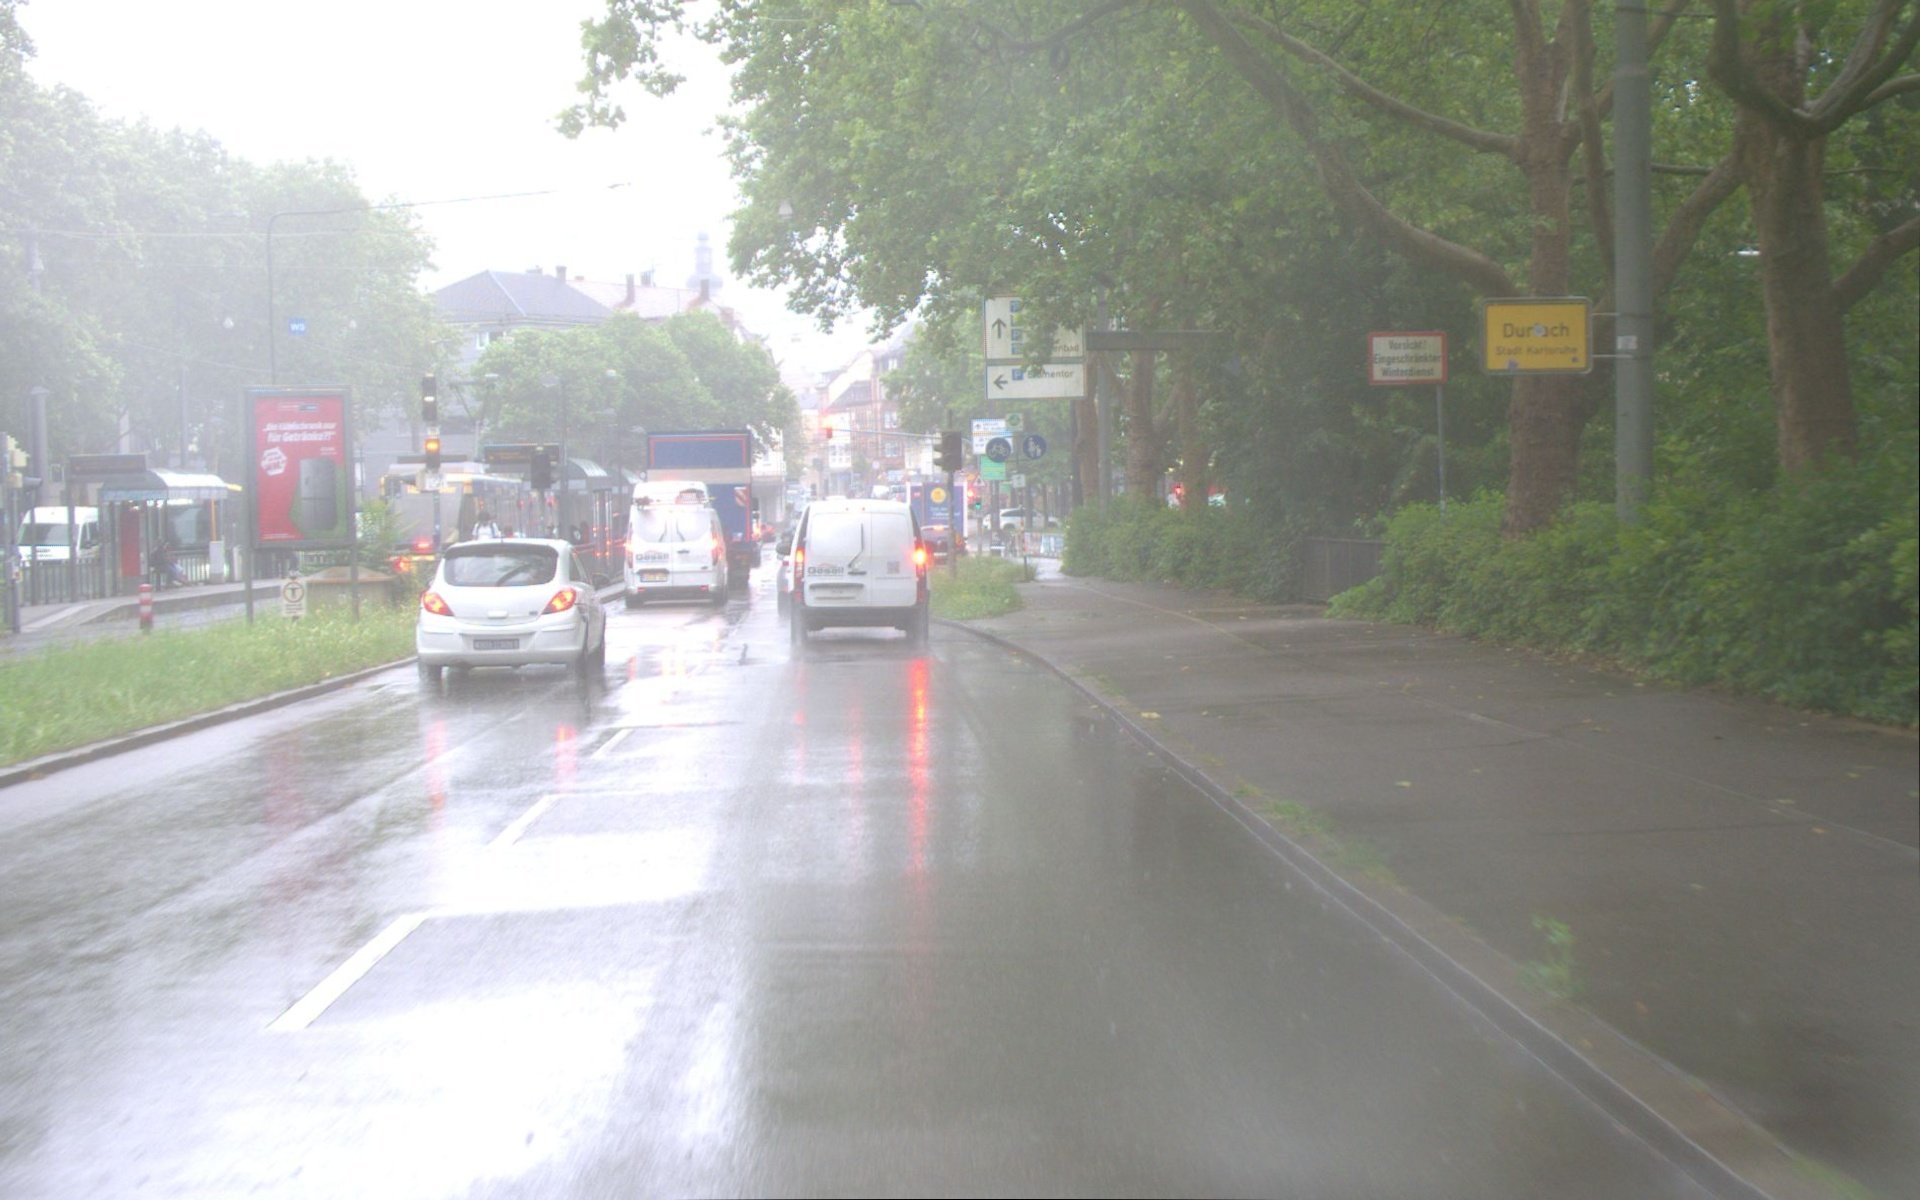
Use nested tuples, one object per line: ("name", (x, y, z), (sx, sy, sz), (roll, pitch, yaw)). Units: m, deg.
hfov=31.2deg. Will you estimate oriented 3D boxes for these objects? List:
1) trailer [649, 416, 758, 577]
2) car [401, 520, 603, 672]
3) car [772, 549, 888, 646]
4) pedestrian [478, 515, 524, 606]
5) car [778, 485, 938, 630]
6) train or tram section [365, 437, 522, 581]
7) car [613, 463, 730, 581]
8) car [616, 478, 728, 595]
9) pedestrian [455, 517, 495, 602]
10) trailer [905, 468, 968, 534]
("trailer", (-6.453, -2.611, 87.080), (2.590, 3.886, 7.637), (-1, 2, -3))
("car", (-4.679, -0.058, 35.545), (1.725, 1.474, 3.806), (-1, 1, -2))
("car", (-2.230, -0.055, 59.917), (1.908, 1.612, 4.000), (-1, 1, -1))
("pedestrian", (-8.748, -0.748, 65.514), (0.790, 1.708, 0.771), (1, 0, -3))
("car", (-1.341, -0.548, 44.307), (1.959, 1.771, 3.570), (-1, 1, -2))
("train or tram section", (-12.749, -2.321, 85.503), (2.961, 3.274, 8.362), (-3, 2, -3))
("car", (-6.487, -1.726, 77.929), (2.329, 2.548, 6.115), (-1, 1, -2))
("car", (-5.772, -1.265, 69.461), (1.993, 2.254, 5.289), (-1, 1, -2))
("pedestrian", (-10.042, -0.843, 71.255), (0.715, 1.738, 0.751), (-1, 1, -3))
("trailer", (-0.884, -3.578, 125.075), (1.993, 2.309, 4.669), (-1, 1, -4))
